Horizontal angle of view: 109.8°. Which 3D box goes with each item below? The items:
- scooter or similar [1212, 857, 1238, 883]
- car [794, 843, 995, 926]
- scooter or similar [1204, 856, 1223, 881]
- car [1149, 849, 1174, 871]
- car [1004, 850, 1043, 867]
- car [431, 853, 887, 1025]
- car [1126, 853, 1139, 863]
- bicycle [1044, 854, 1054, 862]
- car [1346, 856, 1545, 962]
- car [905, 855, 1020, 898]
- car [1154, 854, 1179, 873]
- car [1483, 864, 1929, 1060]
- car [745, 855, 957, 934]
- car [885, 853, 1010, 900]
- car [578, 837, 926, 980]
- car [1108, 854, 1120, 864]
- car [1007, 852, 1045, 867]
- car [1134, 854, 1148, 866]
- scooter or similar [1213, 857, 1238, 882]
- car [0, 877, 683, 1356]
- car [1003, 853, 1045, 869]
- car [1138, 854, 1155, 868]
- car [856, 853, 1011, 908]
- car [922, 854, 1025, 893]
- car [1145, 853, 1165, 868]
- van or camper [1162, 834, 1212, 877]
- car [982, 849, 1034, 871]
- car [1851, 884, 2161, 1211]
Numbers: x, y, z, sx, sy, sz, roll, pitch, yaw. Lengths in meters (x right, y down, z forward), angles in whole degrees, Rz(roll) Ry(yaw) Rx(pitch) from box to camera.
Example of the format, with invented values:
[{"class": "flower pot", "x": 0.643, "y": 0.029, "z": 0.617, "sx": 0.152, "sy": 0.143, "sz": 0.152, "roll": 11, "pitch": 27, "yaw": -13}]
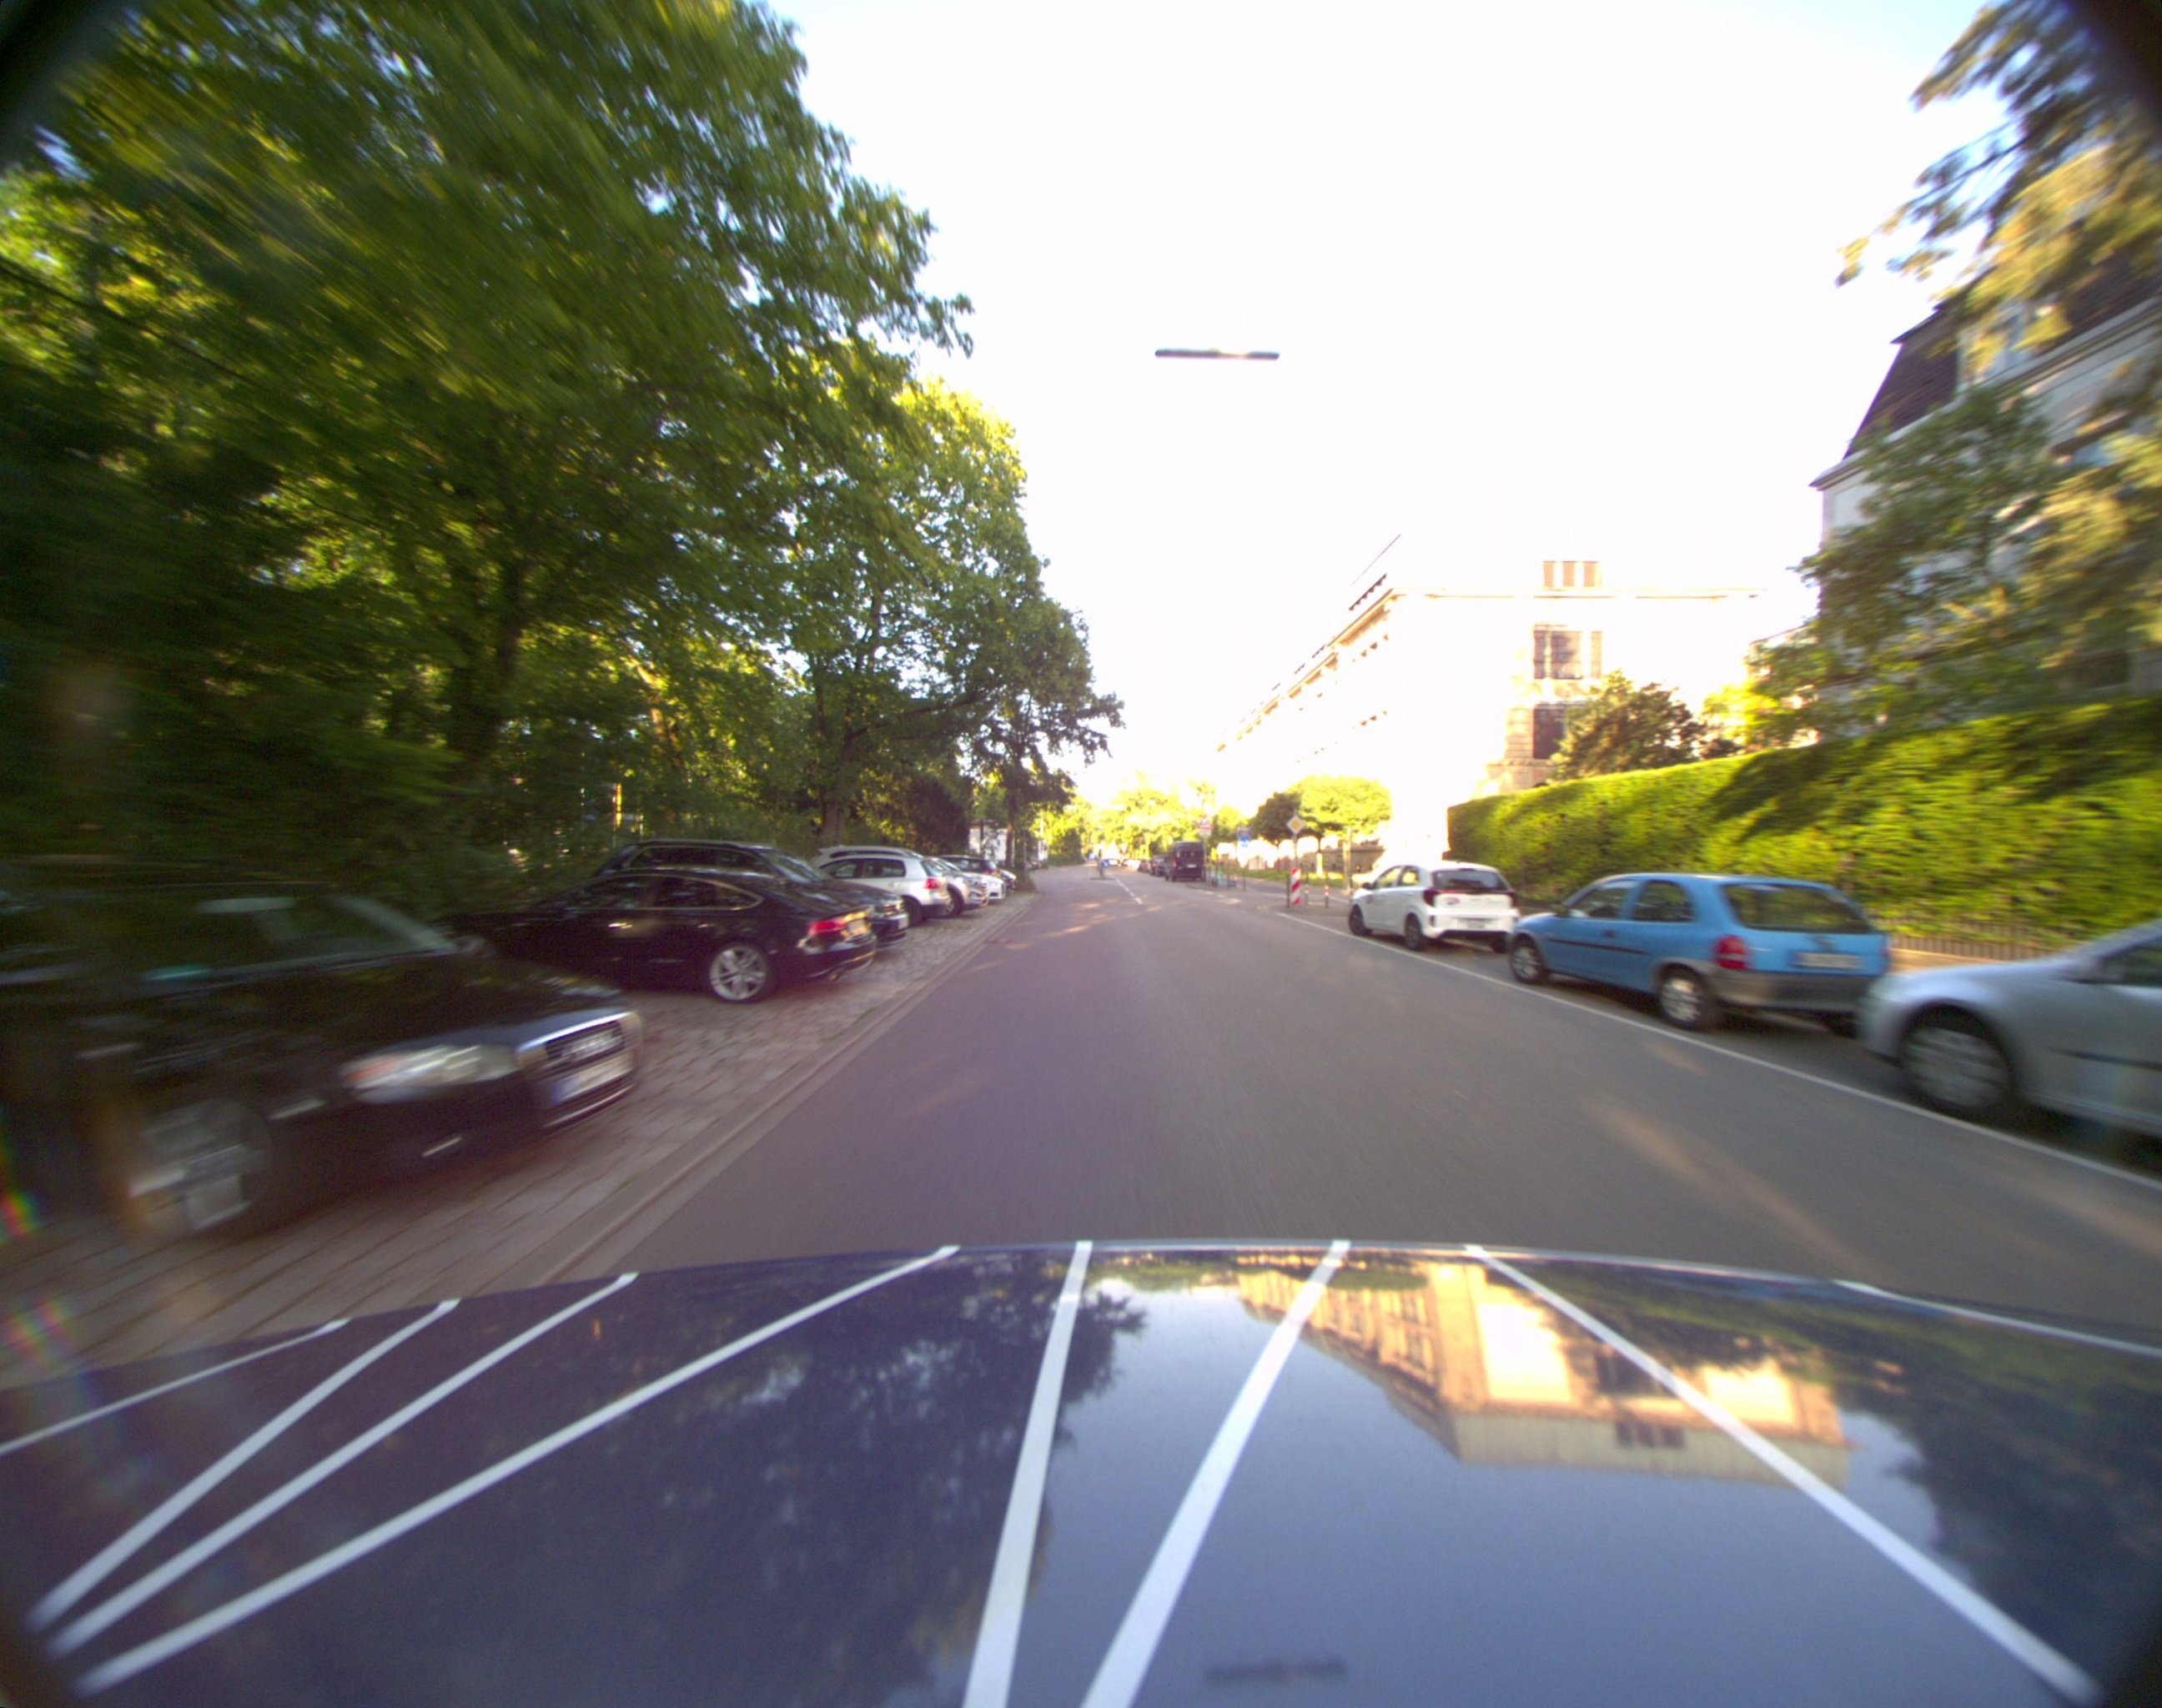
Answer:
[{"class": "scooter or similar", "x": 7.184, "y": 0.775, "z": 37.915, "sx": 1.346, "sy": 1.267, "sz": 0.431, "roll": 0, "pitch": 1, "yaw": -34}, {"class": "car", "x": -4.379, "y": 0.687, "z": 18.371, "sx": 4.318, "sy": 1.794, "sz": 2.035, "roll": 2, "pitch": 1, "yaw": 0}, {"class": "scooter or similar", "x": 6.800, "y": 0.746, "z": 38.976, "sx": 0.430, "sy": 1.267, "sz": 1.347, "roll": 1, "pitch": 1, "yaw": 36}, {"class": "car", "x": 7.167, "y": 0.488, "z": 68.190, "sx": 1.782, "sy": 1.855, "sz": 4.332, "roll": -2, "pitch": 0, "yaw": 1}, {"class": "car", "x": -6.788, "y": 0.511, "z": 90.300, "sx": 4.374, "sy": 1.770, "sz": 1.920, "roll": 2, "pitch": 0, "yaw": 0}, {"class": "car", "x": -4.382, "y": 0.833, "z": 8.337, "sx": 3.997, "sy": 1.545, "sz": 1.725, "roll": 2, "pitch": 1, "yaw": 1}, {"class": "car", "x": 8.049, "y": 0.624, "z": 119.395, "sx": 1.806, "sy": 1.502, "sz": 4.863, "roll": -1, "pitch": 0, "yaw": 2}, {"class": "bicycle", "x": -4.711, "y": 0.637, "z": 111.046, "sx": 0.492, "sy": 1.141, "sz": 2.289, "roll": 4, "pitch": 0, "yaw": 21}, {"class": "car", "x": 6.171, "y": 0.844, "z": 13.378, "sx": 1.618, "sy": 1.506, "sz": 3.711, "roll": 2, "pitch": 0, "yaw": -1}, {"class": "car", "x": -4.378, "y": 0.833, "z": 28.439, "sx": 3.997, "sy": 1.545, "sz": 1.726, "roll": 1, "pitch": -1, "yaw": 1}, {"class": "car", "x": 7.008, "y": 0.780, "z": 62.538, "sx": 1.700, "sy": 1.462, "sz": 3.855, "roll": -2, "pitch": 0, "yaw": 3}, {"class": "car", "x": 6.109, "y": 0.912, "z": 8.098, "sx": 1.618, "sy": 1.476, "sz": 3.741, "roll": 2, "pitch": 0, "yaw": 0}, {"class": "car", "x": -4.796, "y": 0.823, "z": 16.230, "sx": 3.997, "sy": 1.545, "sz": 1.725, "roll": 1, "pitch": 1, "yaw": 1}, {"class": "car", "x": -4.584, "y": 0.787, "z": 26.505, "sx": 3.997, "sy": 1.545, "sz": 1.752, "roll": 1, "pitch": -1, "yaw": 1}, {"class": "car", "x": -4.649, "y": 0.731, "z": 11.210, "sx": 4.255, "sy": 1.779, "sz": 1.883, "roll": 2, "pitch": 1, "yaw": 1}, {"class": "car", "x": 5.423, "y": 0.801, "z": 125.610, "sx": 1.745, "sy": 1.449, "sz": 4.623, "roll": 1, "pitch": 0, "yaw": 0}, {"class": "car", "x": -6.694, "y": 0.674, "z": 92.900, "sx": 4.374, "sy": 1.545, "sz": 1.727, "roll": 2, "pitch": 0, "yaw": 0}, {"class": "car", "x": 7.755, "y": 0.819, "z": 98.778, "sx": 1.622, "sy": 1.487, "sz": 3.924, "roll": 0, "pitch": 0, "yaw": 1}, {"class": "scooter or similar", "x": 7.357, "y": 0.782, "z": 38.600, "sx": 1.346, "sy": 1.267, "sz": 0.431, "roll": 0, "pitch": 1, "yaw": -34}, {"class": "car", "x": -4.405, "y": 0.924, "z": 3.579, "sx": 4.166, "sy": 1.440, "sz": 1.731, "roll": 2, "pitch": 1, "yaw": 4}, {"class": "car", "x": -6.154, "y": 0.790, "z": 82.136, "sx": 4.374, "sy": 1.528, "sz": 1.920, "roll": 2, "pitch": 0, "yaw": 0}, {"class": "car", "x": 7.390, "y": 0.809, "z": 86.159, "sx": 1.622, "sy": 1.487, "sz": 4.377, "roll": 0, "pitch": 0, "yaw": 1}, {"class": "car", "x": -4.556, "y": 0.800, "z": 23.978, "sx": 4.495, "sy": 1.546, "sz": 1.856, "roll": 1, "pitch": 2, "yaw": 1}, {"class": "car", "x": -4.420, "y": 0.808, "z": 31.589, "sx": 3.997, "sy": 1.545, "sz": 1.726, "roll": 1, "pitch": -1, "yaw": 1}, {"class": "car", "x": 7.660, "y": 0.647, "z": 79.047, "sx": 1.723, "sy": 1.487, "sz": 4.377, "roll": 0, "pitch": 0, "yaw": 2}, {"class": "van or camper", "x": 6.728, "y": 0.078, "z": 49.162, "sx": 2.235, "sy": 2.529, "sz": 7.079, "roll": -1, "pitch": 0, "yaw": 0}, {"class": "car", "x": -7.131, "y": 0.581, "z": 75.025, "sx": 4.864, "sy": 1.904, "sz": 1.916, "roll": 2, "pitch": 0, "yaw": 0}, {"class": "car", "x": 5.854, "y": 0.951, "z": 2.971, "sx": 1.617, "sy": 1.458, "sz": 4.036, "roll": 1, "pitch": 0, "yaw": 1}]
